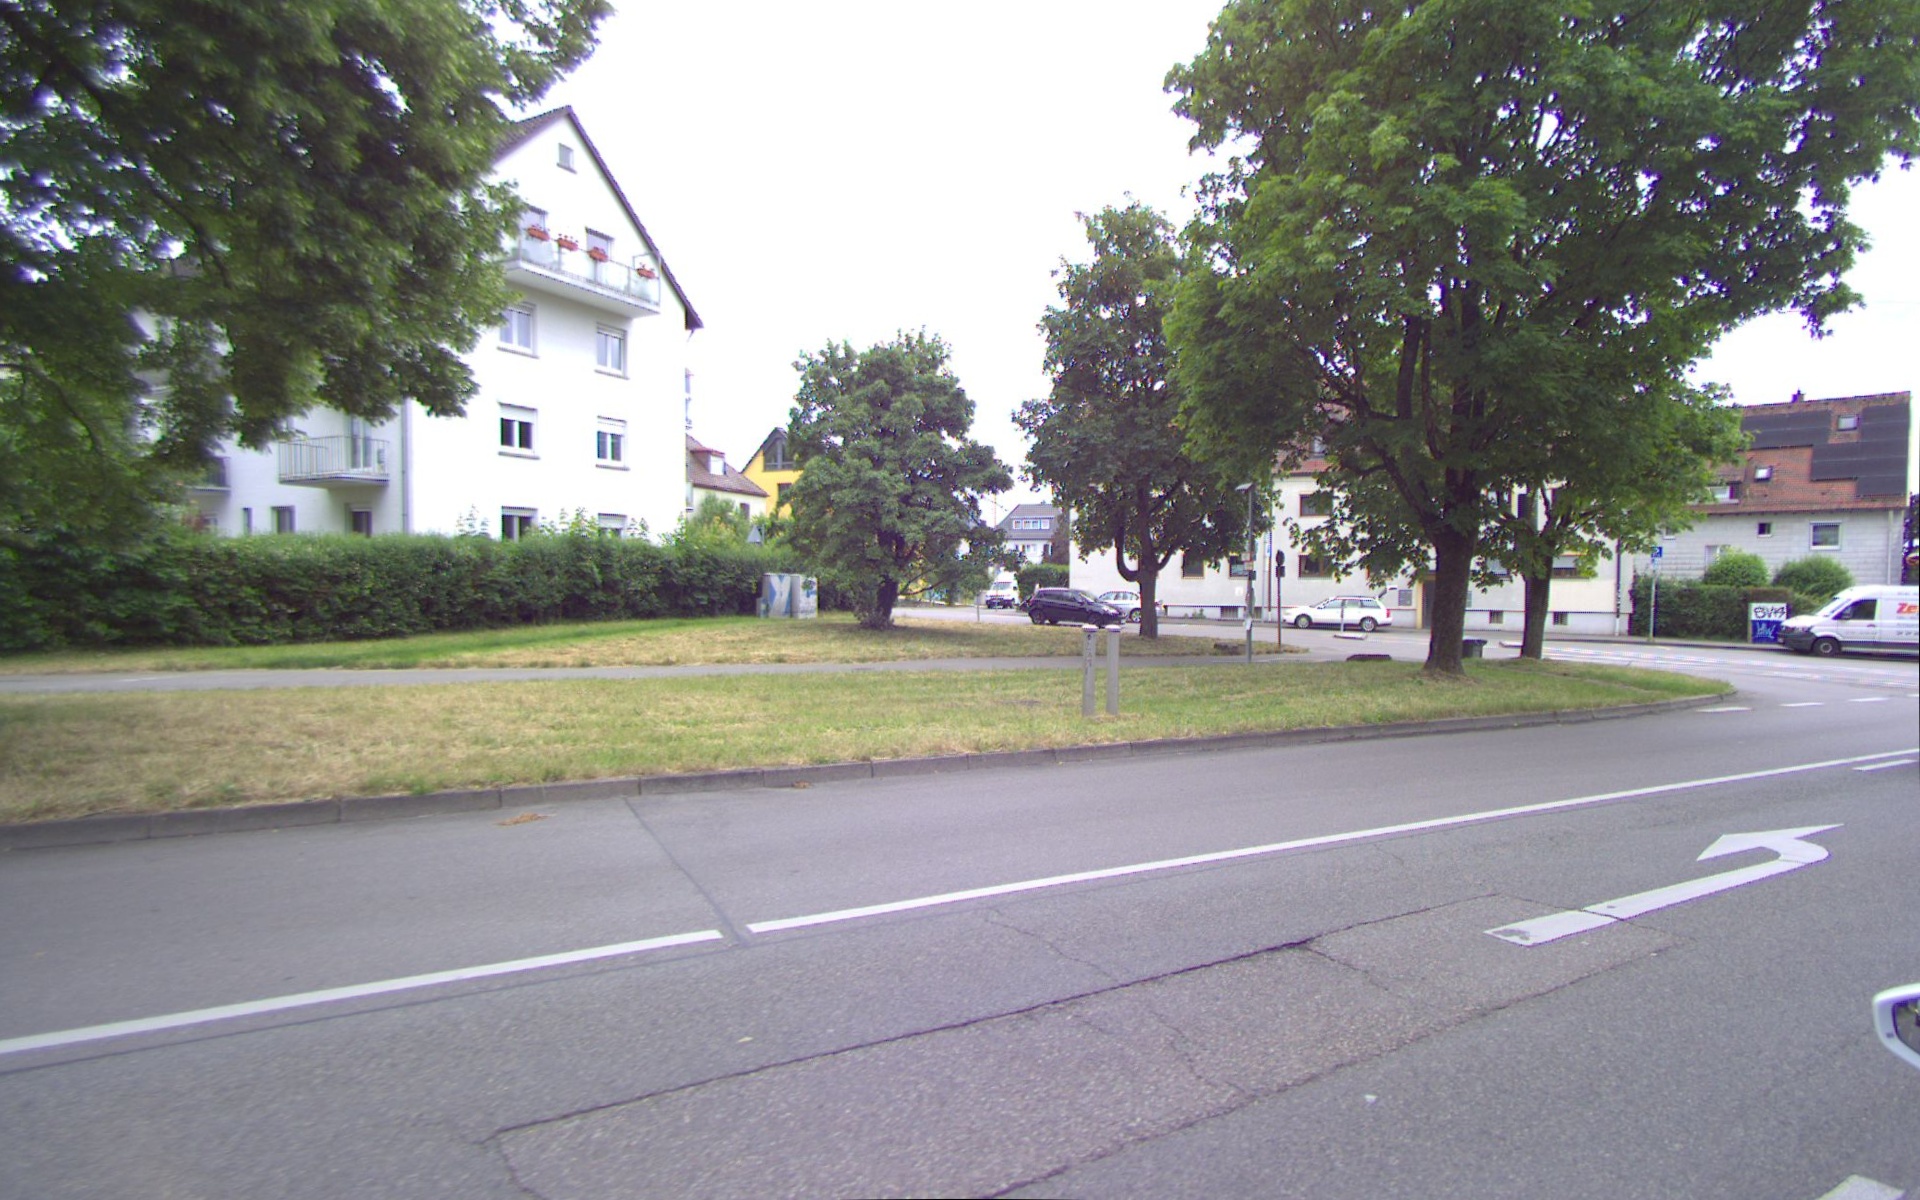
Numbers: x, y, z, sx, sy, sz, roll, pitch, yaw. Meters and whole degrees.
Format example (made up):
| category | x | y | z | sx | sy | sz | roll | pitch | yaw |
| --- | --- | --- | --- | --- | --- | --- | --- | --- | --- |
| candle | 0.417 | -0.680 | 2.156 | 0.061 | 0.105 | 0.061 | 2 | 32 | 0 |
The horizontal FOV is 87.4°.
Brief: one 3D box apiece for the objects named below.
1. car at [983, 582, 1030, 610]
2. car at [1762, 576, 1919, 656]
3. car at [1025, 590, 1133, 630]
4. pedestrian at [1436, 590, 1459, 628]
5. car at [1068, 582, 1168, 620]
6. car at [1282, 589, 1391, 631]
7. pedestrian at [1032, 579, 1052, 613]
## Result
| category | x | y | z | sx | sy | sz | roll | pitch | yaw |
| --- | --- | --- | --- | --- | --- | --- | --- | --- | --- |
| car | 3.195 | -0.309 | 68.755 | 1.796 | 1.682 | 3.996 | 3 | 4 | 25 |
| car | 32.388 | 0.542 | 34.710 | 6.845 | 2.556 | 2.083 | 2 | 3 | 22 |
| car | 4.704 | 0.367 | 39.950 | 3.930 | 1.355 | 1.640 | 2 | 3 | 31 |
| pedestrian | 21.150 | 0.390 | 43.592 | 0.735 | 1.555 | 0.716 | 3 | 4 | 20 |
| car | 7.069 | 0.045 | 44.979 | 4.150 | 1.554 | 1.683 | 2 | 0 | 19 |
| car | 16.016 | 0.397 | 42.878 | 4.232 | 1.459 | 1.721 | 3 | 4 | 20 |
| pedestrian | 4.075 | -0.202 | 49.947 | 0.767 | 1.655 | 0.681 | 3 | 4 | 25 |
